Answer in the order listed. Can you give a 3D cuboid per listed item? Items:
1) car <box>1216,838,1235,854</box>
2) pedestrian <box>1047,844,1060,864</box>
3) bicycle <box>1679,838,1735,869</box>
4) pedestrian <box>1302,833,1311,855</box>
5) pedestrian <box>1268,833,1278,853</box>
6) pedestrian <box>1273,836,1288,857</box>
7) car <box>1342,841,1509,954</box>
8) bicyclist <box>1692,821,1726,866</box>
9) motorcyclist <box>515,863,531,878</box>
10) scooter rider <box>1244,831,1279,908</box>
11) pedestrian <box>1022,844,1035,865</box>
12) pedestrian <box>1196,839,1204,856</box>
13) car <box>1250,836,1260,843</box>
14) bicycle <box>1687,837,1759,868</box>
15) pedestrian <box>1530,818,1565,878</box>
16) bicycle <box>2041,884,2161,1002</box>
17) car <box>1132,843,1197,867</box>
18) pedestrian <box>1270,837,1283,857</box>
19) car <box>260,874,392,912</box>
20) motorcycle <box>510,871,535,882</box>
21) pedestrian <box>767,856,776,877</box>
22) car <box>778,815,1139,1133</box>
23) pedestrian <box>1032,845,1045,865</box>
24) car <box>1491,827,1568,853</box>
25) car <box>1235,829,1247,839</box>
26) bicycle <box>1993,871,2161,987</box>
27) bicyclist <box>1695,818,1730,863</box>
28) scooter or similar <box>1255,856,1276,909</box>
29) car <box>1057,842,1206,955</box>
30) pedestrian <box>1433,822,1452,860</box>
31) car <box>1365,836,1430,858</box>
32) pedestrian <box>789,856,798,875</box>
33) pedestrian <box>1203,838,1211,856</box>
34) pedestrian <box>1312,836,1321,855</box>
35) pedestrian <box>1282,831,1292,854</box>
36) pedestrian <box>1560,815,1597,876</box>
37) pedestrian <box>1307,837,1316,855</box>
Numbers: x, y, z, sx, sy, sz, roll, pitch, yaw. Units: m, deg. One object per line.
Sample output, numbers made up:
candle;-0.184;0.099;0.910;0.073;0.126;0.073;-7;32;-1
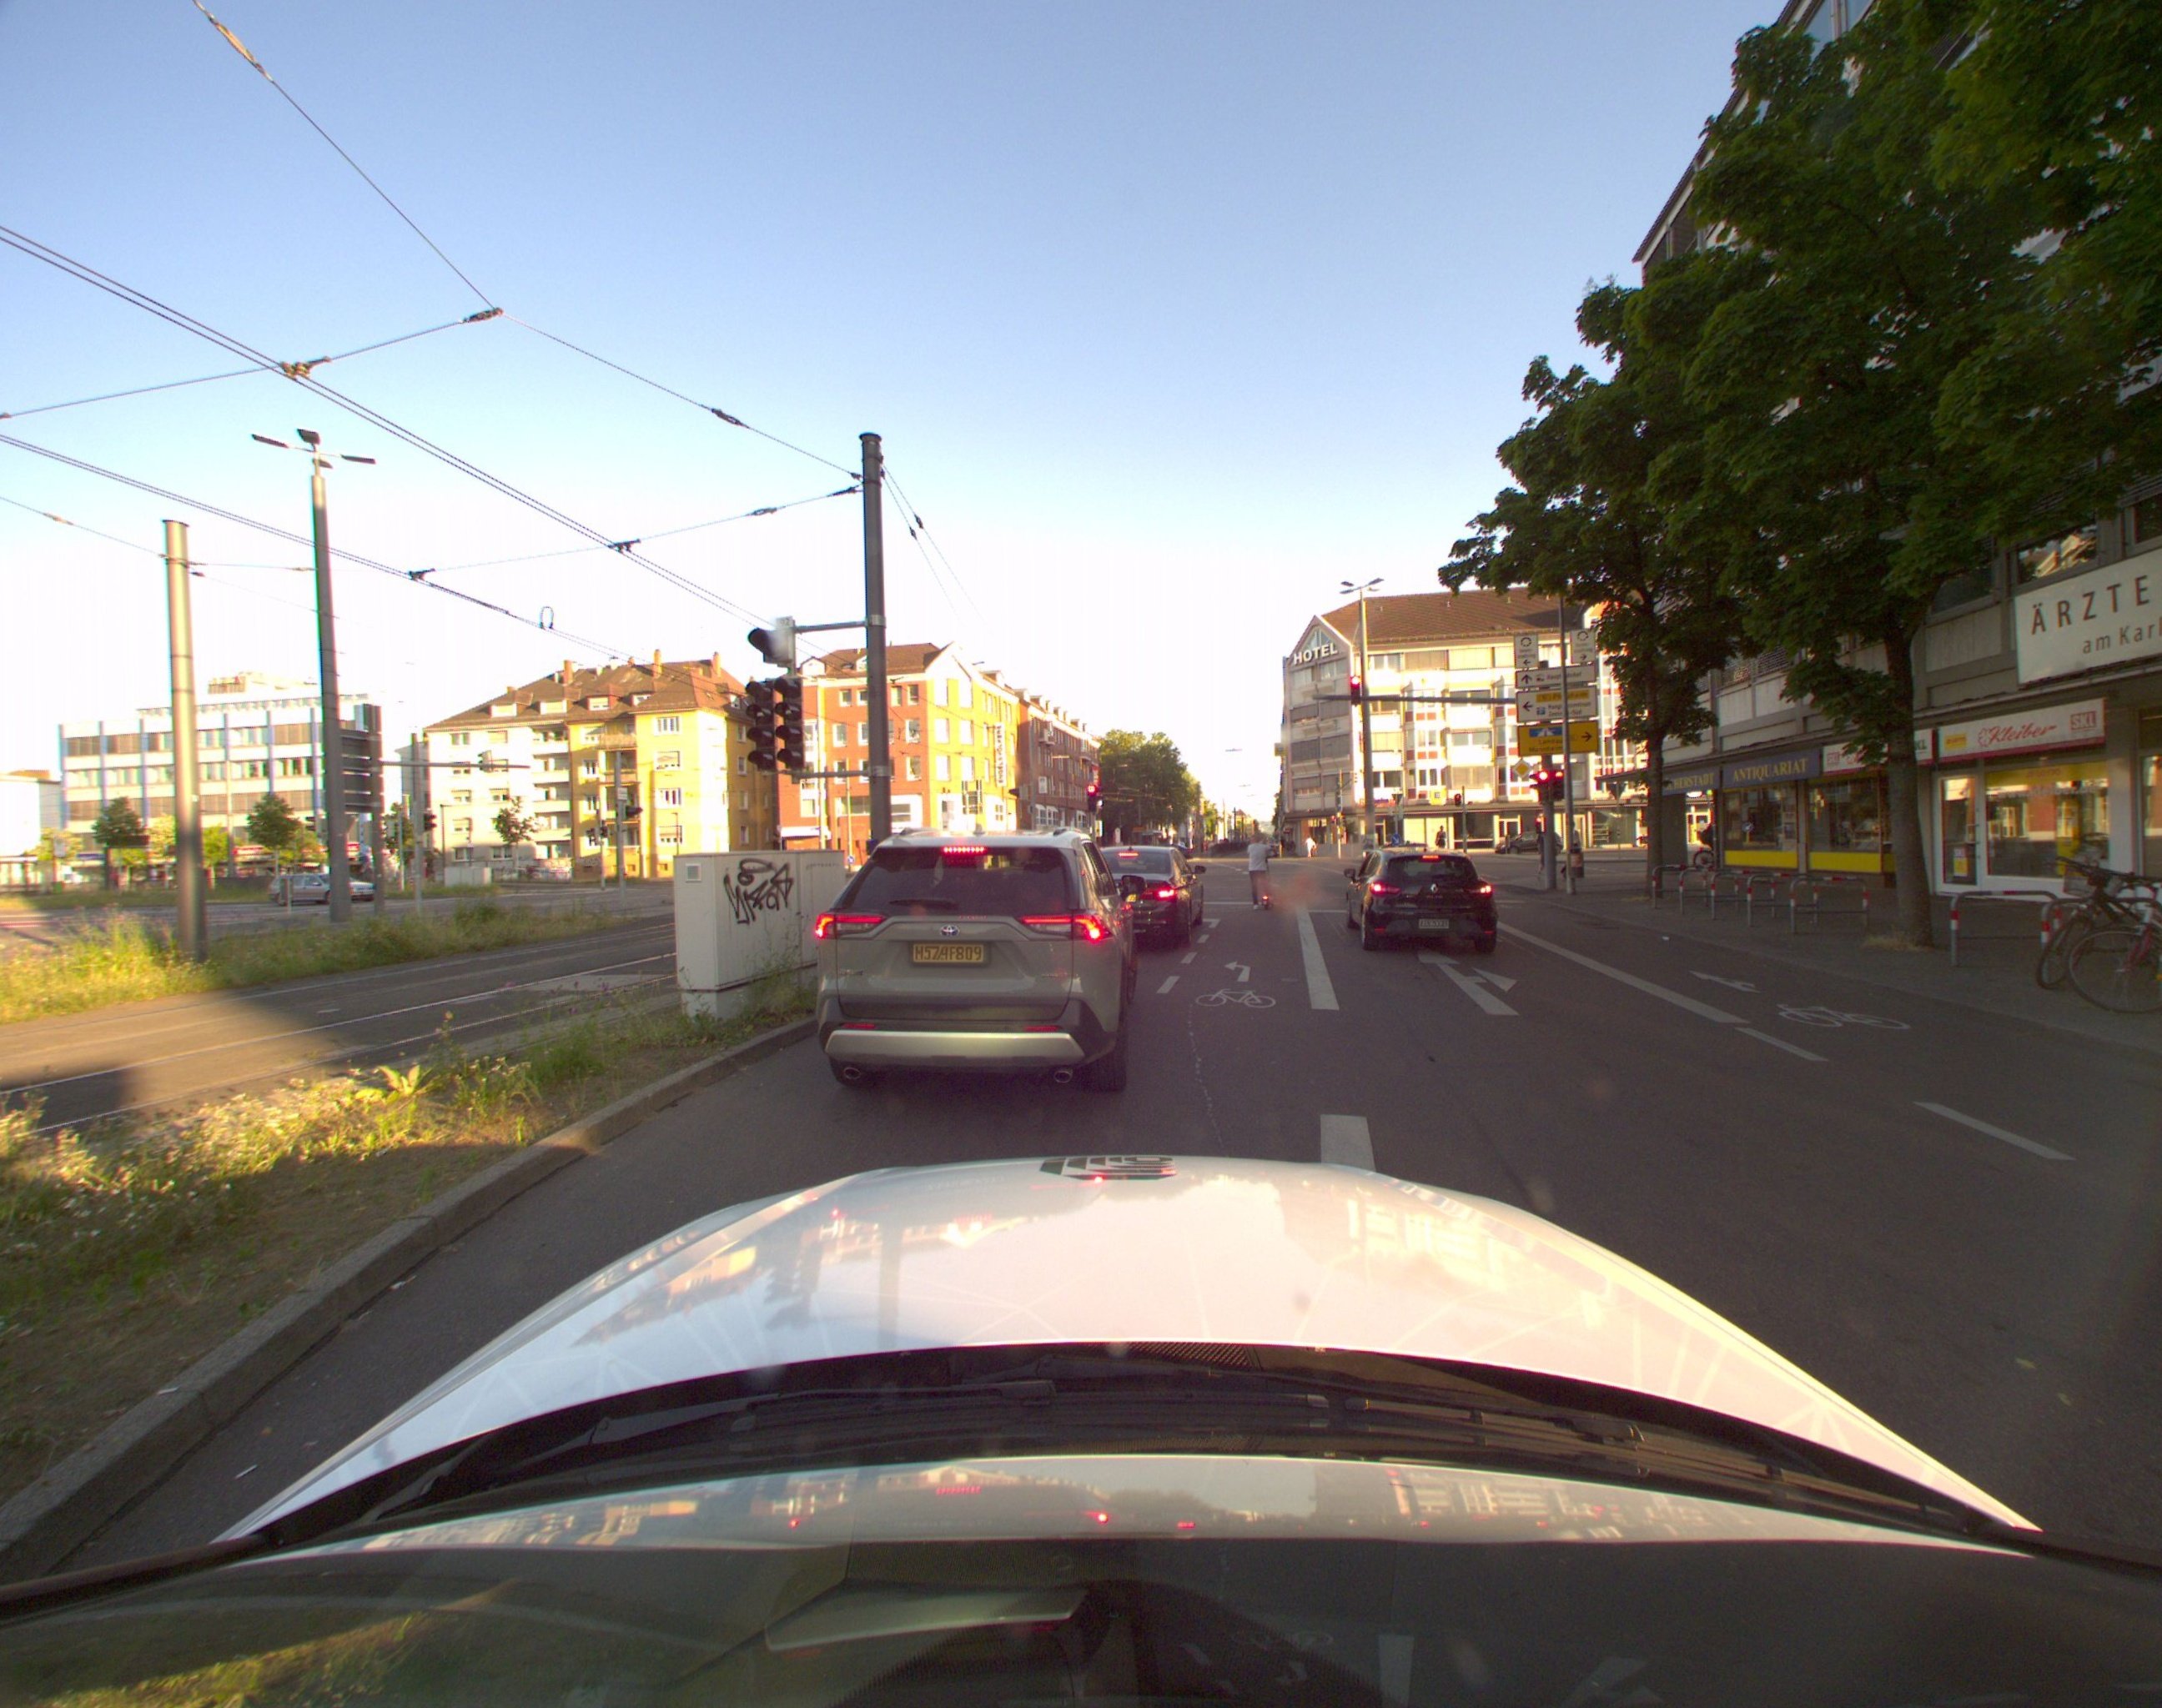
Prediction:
car;16.468;-0.892;92.523;1.798;1.746;3.730;0;1;15
pedestrian;-2.832;0.029;83.967;1.086;2.013;1.167;0;1;11
bicycle;22.254;-0.019;28.967;1.603;1.028;0.354;-2;0;6
pedestrian;18.201;-0.809;65.806;0.495;1.774;0.472;-2;0;-25
pedestrian;20.475;-1.163;86.837;0.926;2.196;0.855;0;0;10
pedestrian;16.698;-0.605;68.110;0.937;1.726;0.845;0;1;-28
car;5.107;0.534;12.592;1.752;1.440;4.015;0;1;14
bicyclist;22.334;-0.376;28.958;0.701;1.511;0.550;-4;0;4
motorcyclist;-45.725;1.372;66.708;0.700;1.220;0.790;0;1;7
scooter rider;3.955;0.329;17.847;0.656;1.647;0.665;0;1;21
pedestrian;-5.097;0.080;79.279;1.086;2.013;0.911;0;0;11
pedestrian;11.646;-0.602;79.728;0.696;1.664;0.811;0;1;15
car;35.799;-2.929;167.848;1.980;1.310;4.014;-2;1;12
bicycle;22.175;-0.061;28.144;2.025;1.028;0.418;-1;1;8
pedestrian;14.657;-0.184;25.578;1.003;1.830;0.720;-1;1;-45
bicycle;8.891;0.707;6.377;1.802;0.891;0.417;0;1;20
car;6.053;0.071;59.002;4.523;1.620;2.004;-1;1;10
pedestrian;16.651;-0.587;69.214;0.724;1.623;0.766;-2;0;-24
car;-34.456;1.749;37.225;4.316;1.551;2.003;-1;0;5
motorcycle;-45.724;1.832;66.679;1.823;0.908;0.433;0;1;9
pedestrian;-26.235;1.038;68.969;0.667;1.743;0.686;-1;0;-18
car;-0.502;0.566;6.276;1.827;1.636;4.096;-1;2;5
pedestrian;-4.261;0.118;80.883;1.086;2.013;0.911;0;0;11
car;30.415;-0.921;55.315;4.206;1.696;2.006;0;1;11
car;30.948;-3.891;157.769;1.979;1.900;4.016;0;1;14
bicycle;9.304;0.651;7.215;1.643;0.974;0.388;0;1;20
bicyclist;21.862;-0.475;28.195;0.700;1.511;0.551;-4;0;7
scooter or similar;4.035;0.605;17.770;0.277;1.090;1.263;0;1;20
car;0.992;0.563;13.159;1.733;1.460;4.425;0;1;12
pedestrian;17.188;-0.610;38.726;0.741;1.778;0.803;0;0;16
car;22.003;-0.492;56.683;3.961;1.476;2.006;0;1;11
pedestrian;-24.730;1.013;69.964;0.547;1.642;0.502;0;0;12
pedestrian;12.256;-0.680;79.253;0.696;1.822;0.811;0;1;15
pedestrian;19.178;-0.668;66.278;0.495;1.503;0.472;-2;0;-25
pedestrian;21.381;-1.151;84.499;1.077;2.365;1.060;0;1;14
pedestrian;15.265;-0.264;24.977;1.003;1.830;0.720;-1;1;-43
pedestrian;18.687;-0.644;66.036;0.495;1.503;0.472;-2;0;-25
